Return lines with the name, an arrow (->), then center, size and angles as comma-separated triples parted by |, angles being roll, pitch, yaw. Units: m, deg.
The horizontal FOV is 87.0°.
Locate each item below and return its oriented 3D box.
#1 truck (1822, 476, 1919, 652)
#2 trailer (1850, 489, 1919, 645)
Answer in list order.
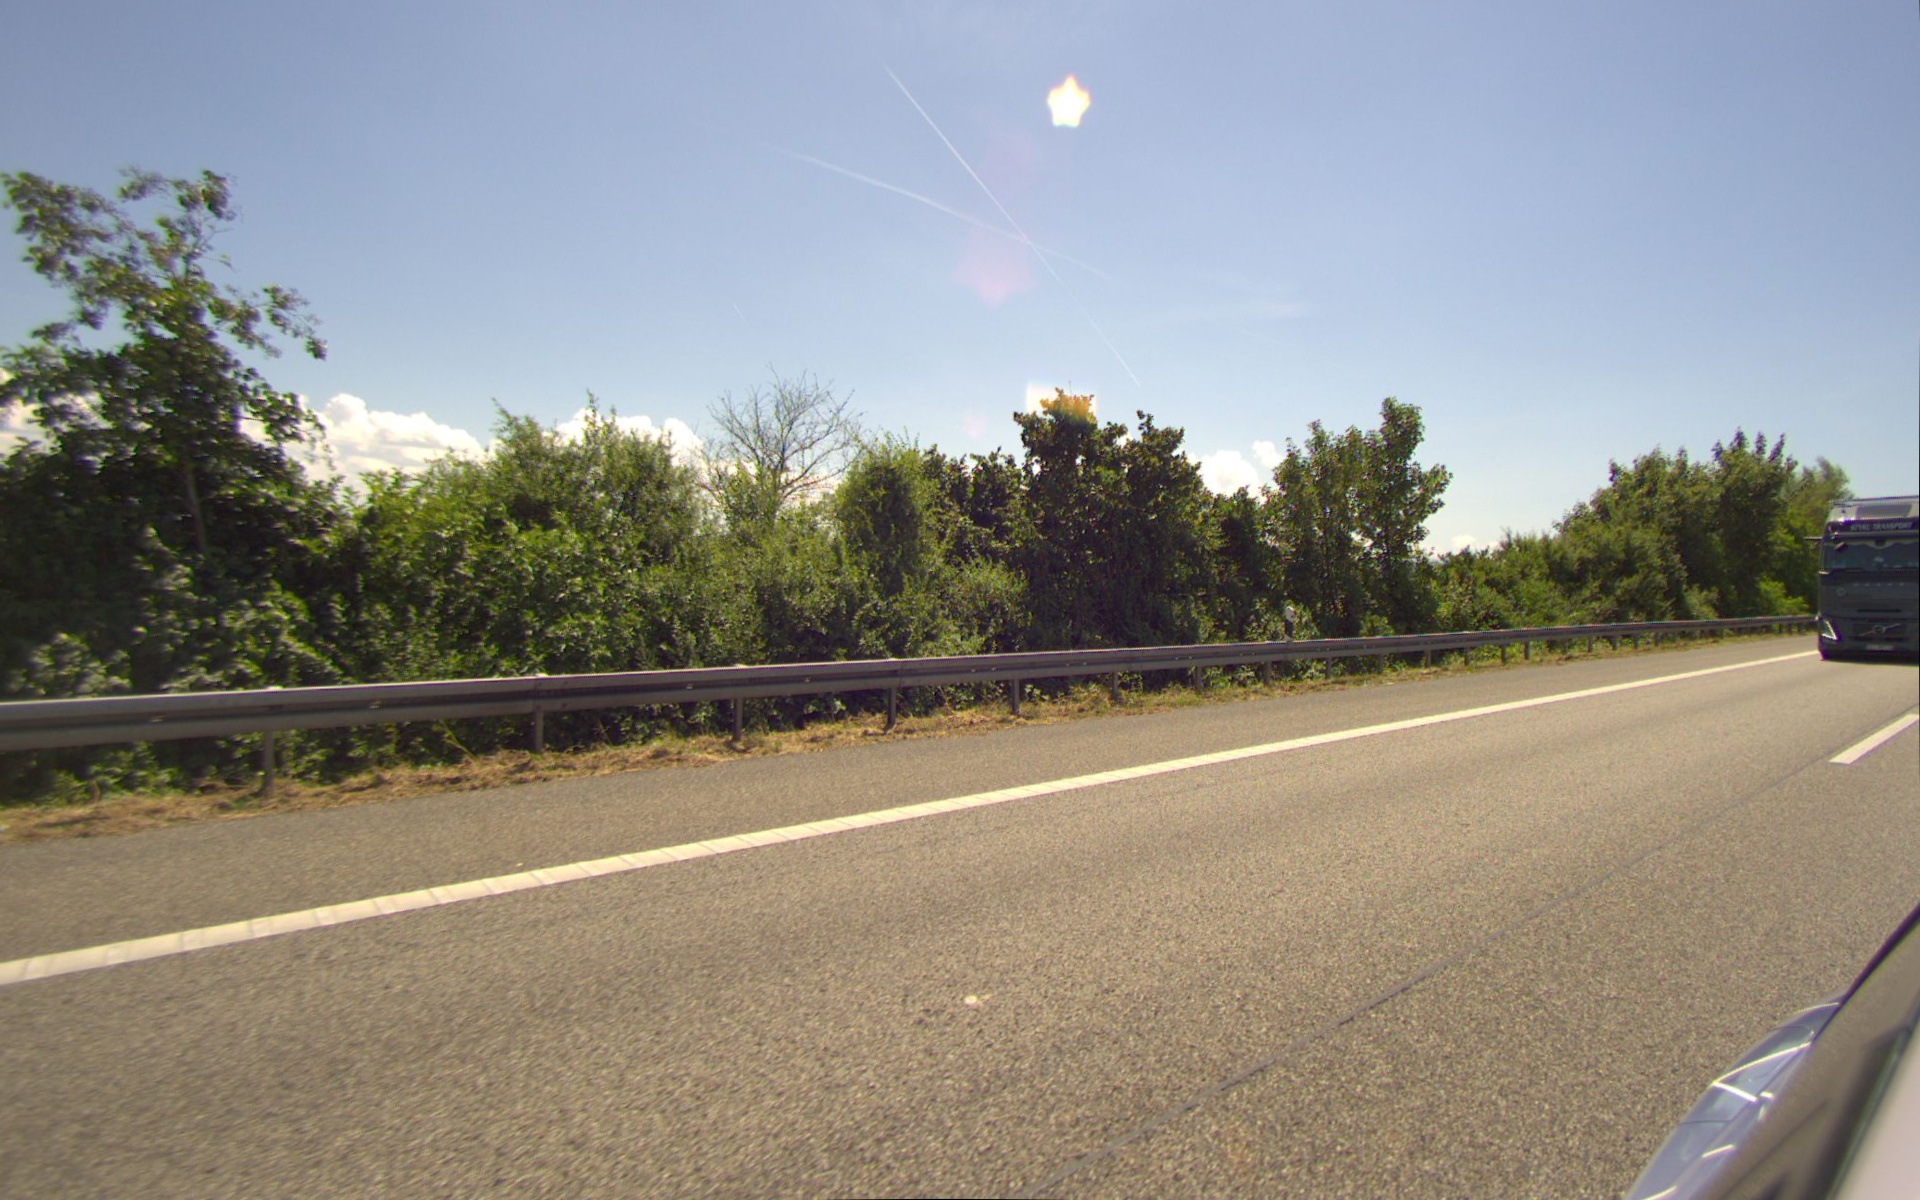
truck -> 24.058, -0.844, 25.565 | 6.400, 4.004, 2.557 | 0, 0, -41
trailer -> 29.637, -0.883, 30.449 | 13.302, 4.004, 2.557 | 0, 0, -41
